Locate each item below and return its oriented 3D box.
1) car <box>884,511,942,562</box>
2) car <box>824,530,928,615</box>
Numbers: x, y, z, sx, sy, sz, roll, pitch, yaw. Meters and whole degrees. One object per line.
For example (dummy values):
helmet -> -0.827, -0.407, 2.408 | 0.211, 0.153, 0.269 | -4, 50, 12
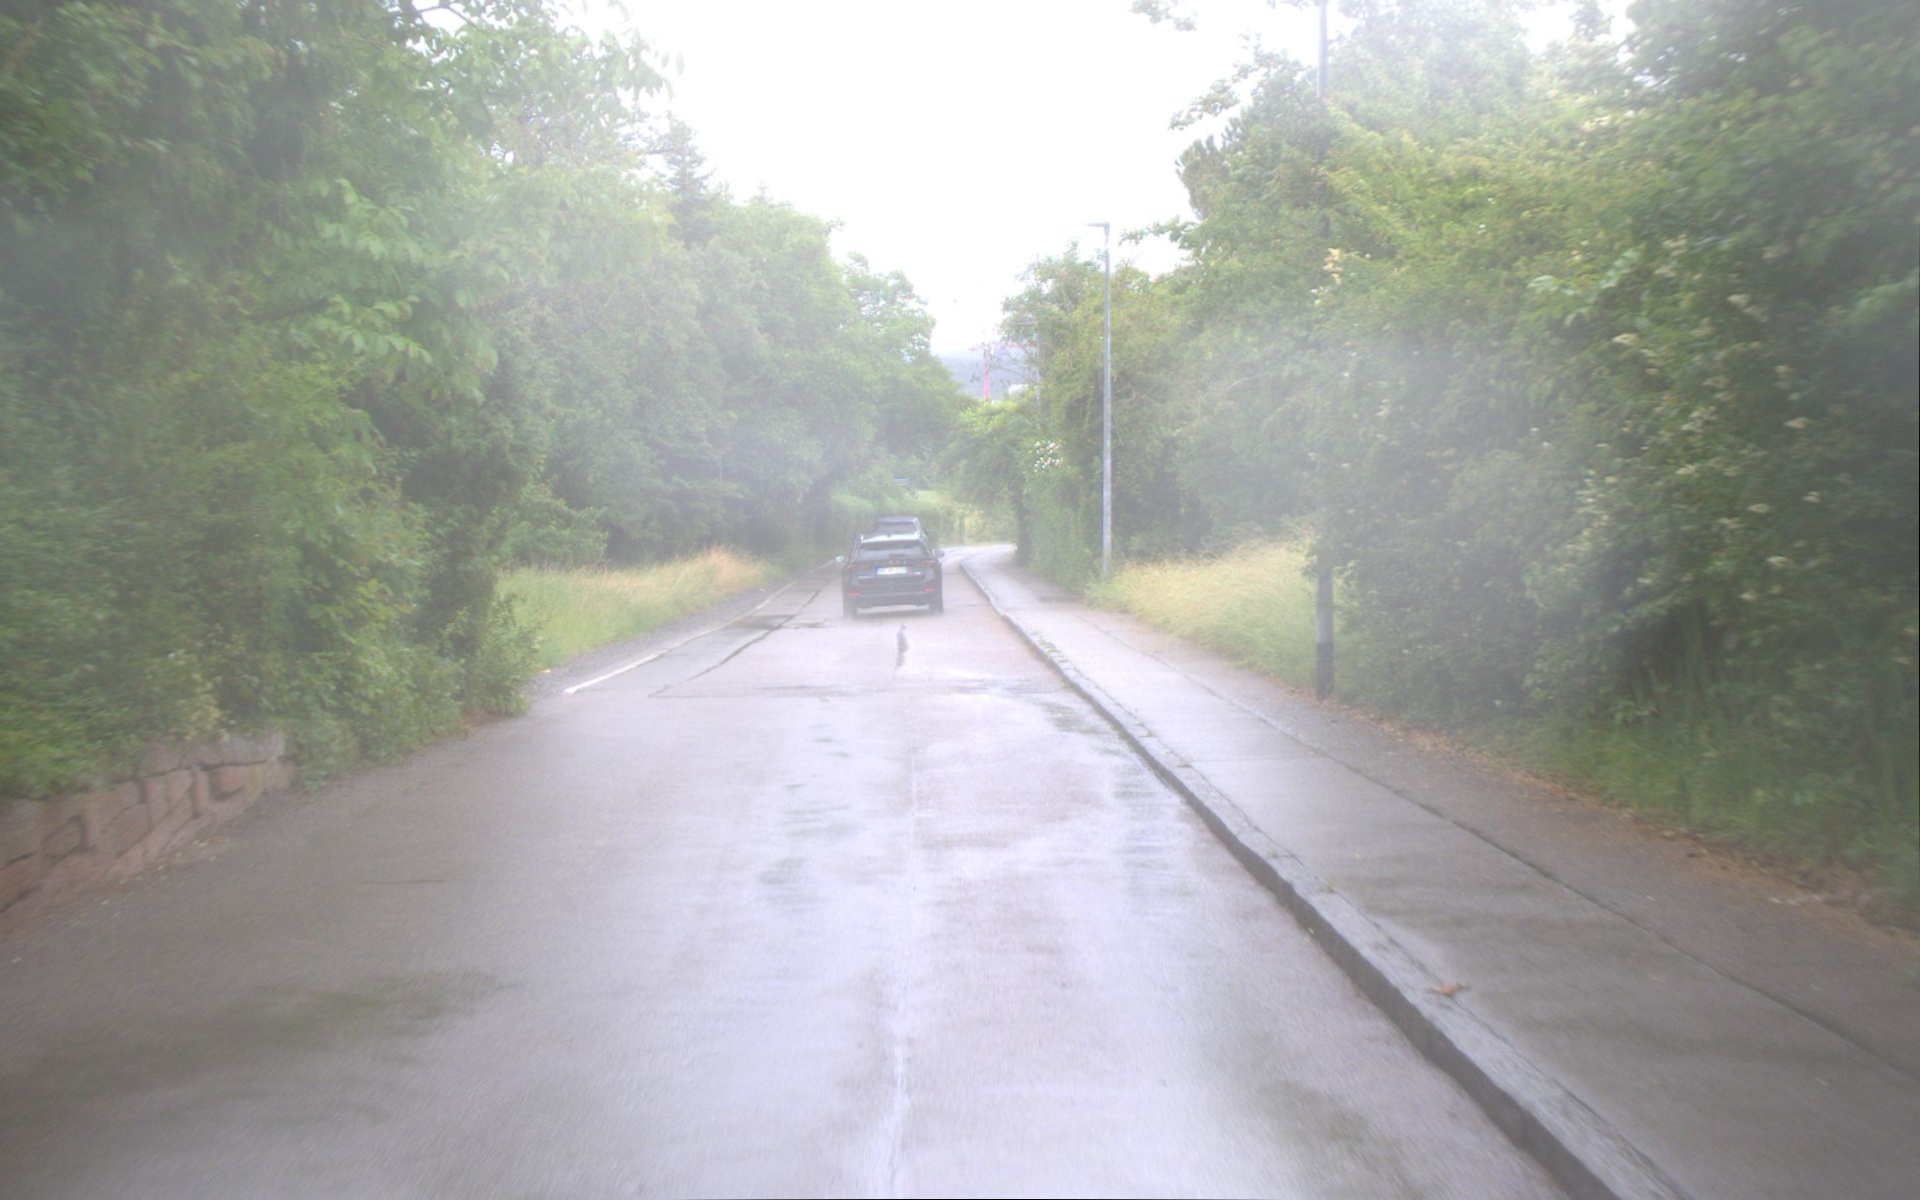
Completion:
car -> -1.371, -1.861, 101.490 | 1.634, 1.409, 3.544 | -1, 0, 0
car -> -1.456, -0.468, 60.763 | 1.635, 1.445, 3.544 | -1, 0, 2
